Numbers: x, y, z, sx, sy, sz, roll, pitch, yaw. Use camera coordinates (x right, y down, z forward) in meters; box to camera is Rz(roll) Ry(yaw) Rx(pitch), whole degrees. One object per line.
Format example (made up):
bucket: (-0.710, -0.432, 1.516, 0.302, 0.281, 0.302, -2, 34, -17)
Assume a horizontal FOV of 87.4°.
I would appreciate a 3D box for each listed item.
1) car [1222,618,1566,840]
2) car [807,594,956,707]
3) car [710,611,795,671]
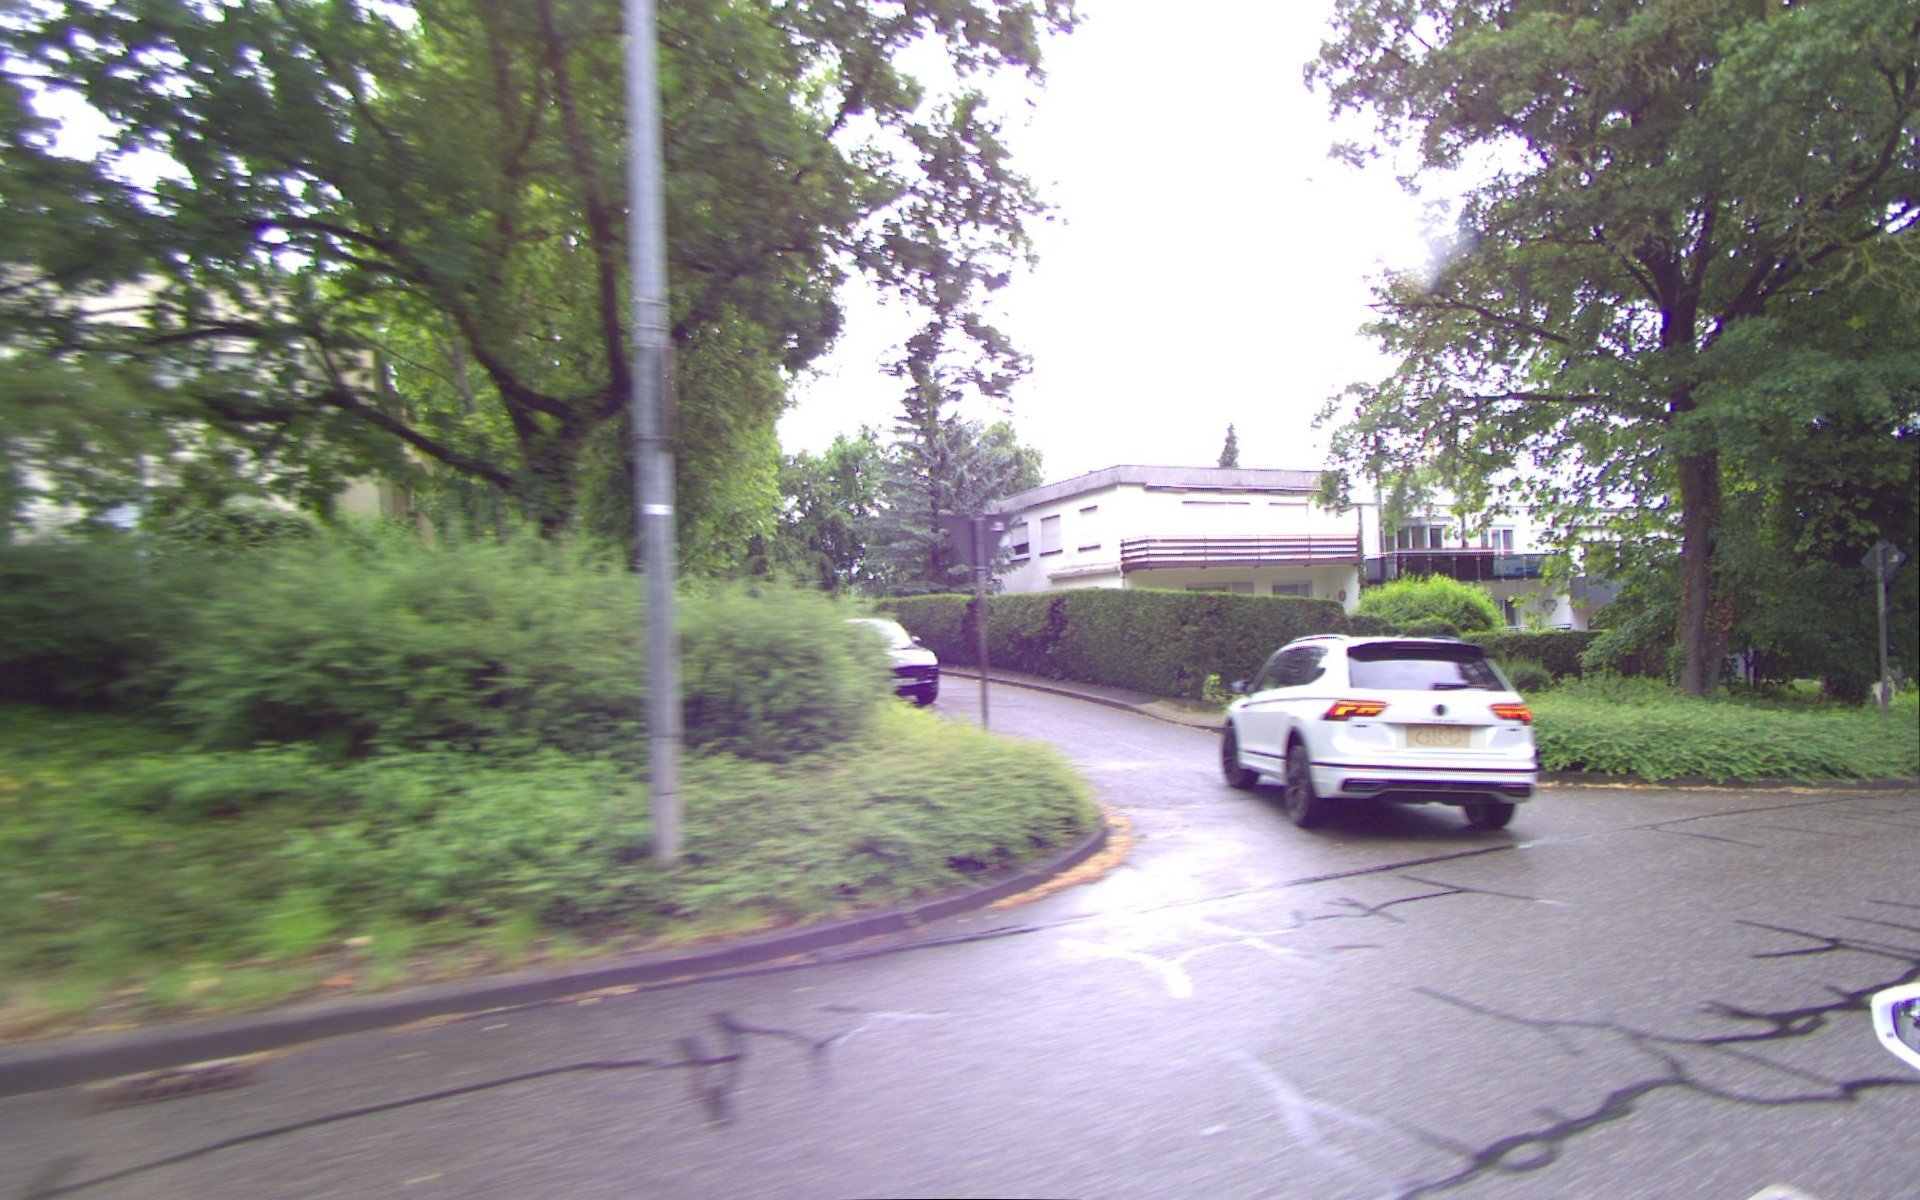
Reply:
car: (3.900, 1.149, 9.913, 1.873, 1.707, 4.205, -1, -4, 6)
car: (-1.699, 0.989, 20.411, 1.970, 2.040, 3.982, 2, -2, -20)
car: (-6.983, 1.350, 33.509, 1.972, 1.832, 3.977, 2, -2, -24)
